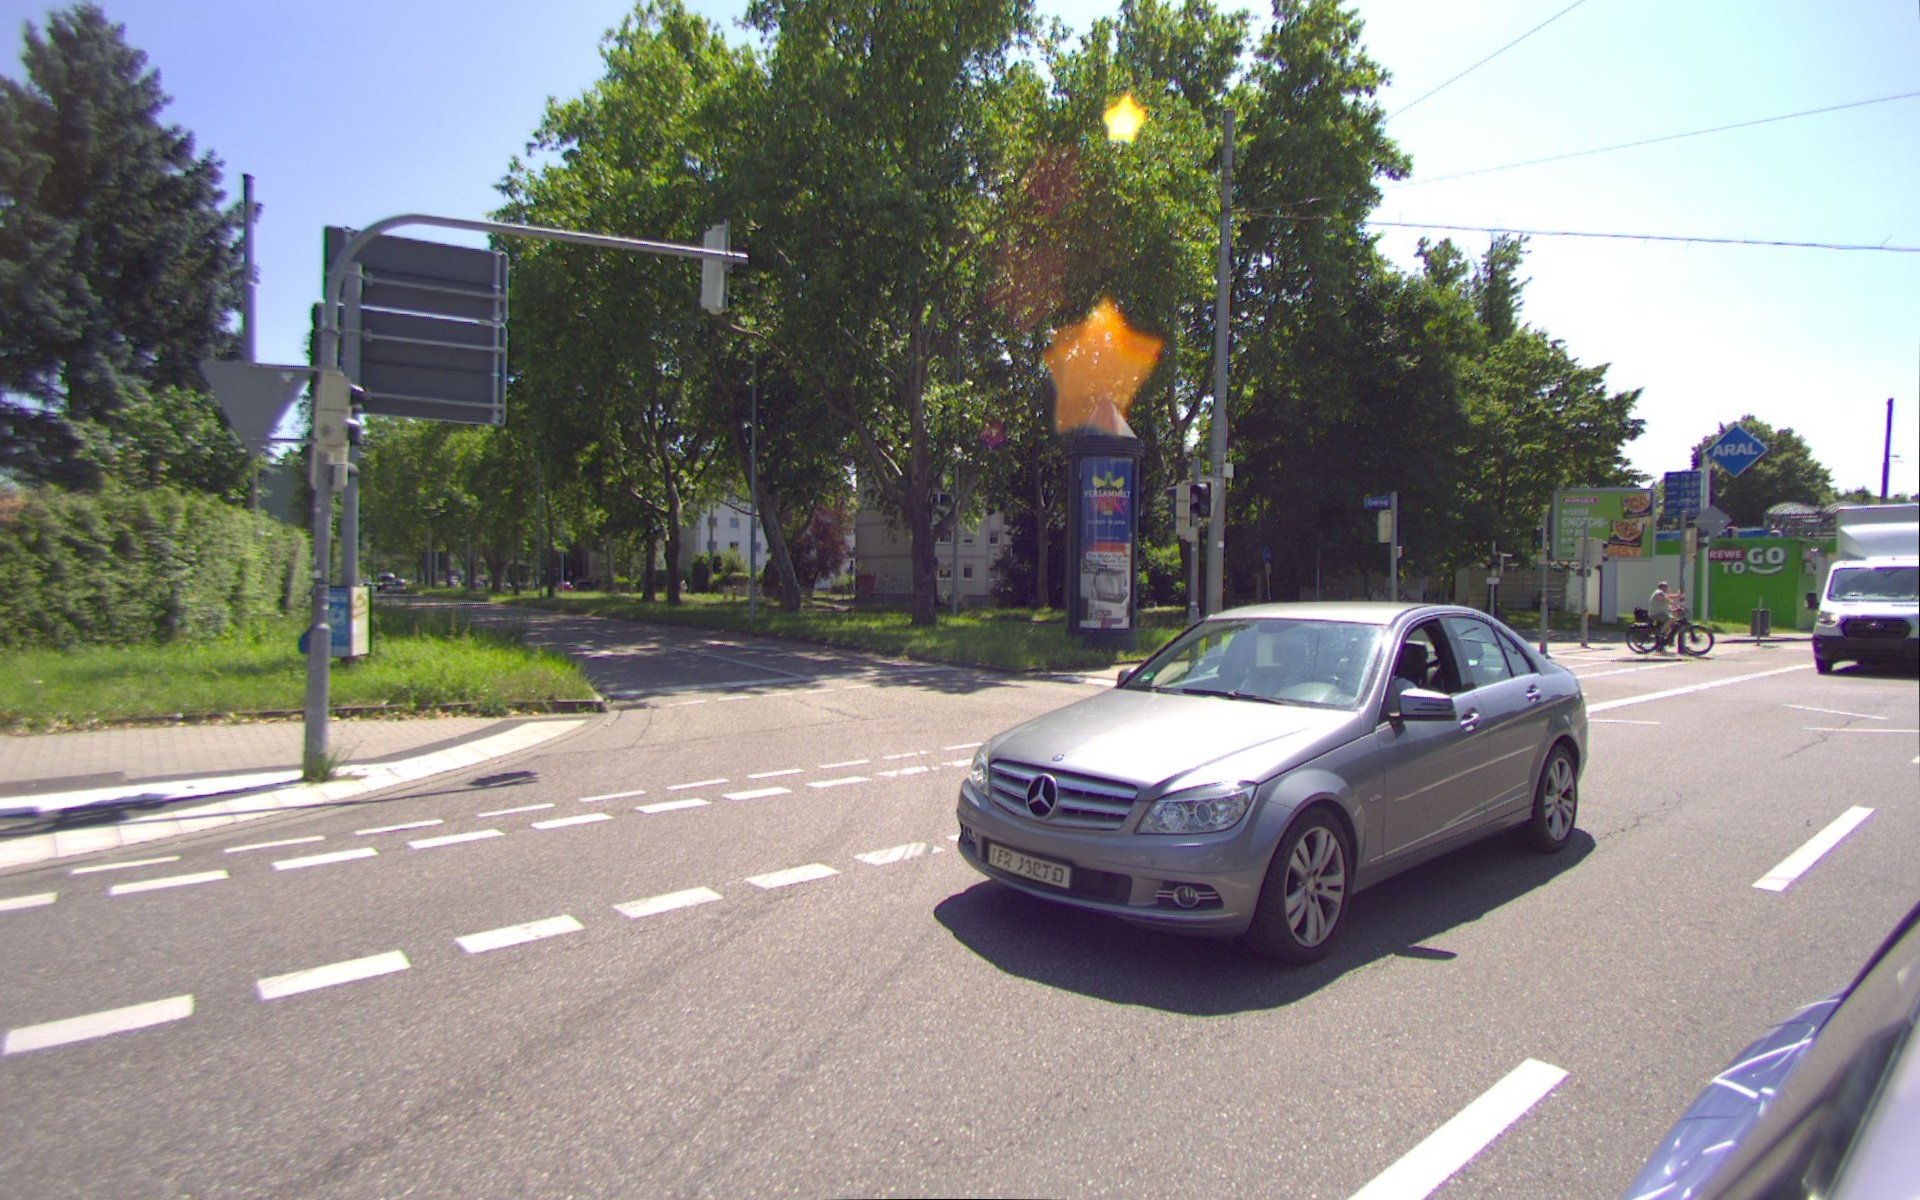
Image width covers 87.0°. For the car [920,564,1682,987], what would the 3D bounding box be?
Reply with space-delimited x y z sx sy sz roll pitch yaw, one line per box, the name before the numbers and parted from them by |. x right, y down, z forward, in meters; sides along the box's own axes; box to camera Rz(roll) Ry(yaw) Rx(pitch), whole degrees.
car | 2.354 0.635 5.909 5.206 1.492 1.716 0 -1 -39

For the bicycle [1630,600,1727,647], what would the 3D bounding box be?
bicycle | 18.662 0.591 26.320 0.877 1.139 1.874 0 0 -32

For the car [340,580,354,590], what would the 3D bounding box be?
car | -100.455 -2.433 165.792 1.726 1.683 3.902 -1 0 -33

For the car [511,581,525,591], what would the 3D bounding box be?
car | -69.357 -2.160 158.749 1.673 1.464 3.389 -1 1 -28

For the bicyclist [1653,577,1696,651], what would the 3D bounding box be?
bicyclist | 17.887 0.324 25.331 0.960 1.810 0.724 -1 1 -43

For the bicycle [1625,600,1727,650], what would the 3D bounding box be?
bicycle | 17.842 0.594 25.237 0.880 1.174 1.952 -1 1 -43

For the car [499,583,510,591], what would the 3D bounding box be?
car | -78.397 -2.255 174.085 1.461 1.464 3.356 -1 1 -28

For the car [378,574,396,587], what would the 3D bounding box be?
car | -75.225 -2.570 132.823 1.726 1.683 3.902 -1 0 -33

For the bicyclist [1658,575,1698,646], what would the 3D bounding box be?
bicyclist | 18.686 0.257 26.329 0.753 1.811 0.579 0 -1 -32

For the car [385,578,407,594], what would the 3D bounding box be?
car | -59.520 -1.459 106.732 1.726 1.683 3.902 -1 0 -33

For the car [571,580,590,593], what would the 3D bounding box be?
car | -44.205 -1.545 117.873 1.673 1.464 3.389 -1 0 -28

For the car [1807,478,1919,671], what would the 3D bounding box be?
car | 19.781 -0.499 20.733 8.482 3.377 2.228 -1 1 -40
